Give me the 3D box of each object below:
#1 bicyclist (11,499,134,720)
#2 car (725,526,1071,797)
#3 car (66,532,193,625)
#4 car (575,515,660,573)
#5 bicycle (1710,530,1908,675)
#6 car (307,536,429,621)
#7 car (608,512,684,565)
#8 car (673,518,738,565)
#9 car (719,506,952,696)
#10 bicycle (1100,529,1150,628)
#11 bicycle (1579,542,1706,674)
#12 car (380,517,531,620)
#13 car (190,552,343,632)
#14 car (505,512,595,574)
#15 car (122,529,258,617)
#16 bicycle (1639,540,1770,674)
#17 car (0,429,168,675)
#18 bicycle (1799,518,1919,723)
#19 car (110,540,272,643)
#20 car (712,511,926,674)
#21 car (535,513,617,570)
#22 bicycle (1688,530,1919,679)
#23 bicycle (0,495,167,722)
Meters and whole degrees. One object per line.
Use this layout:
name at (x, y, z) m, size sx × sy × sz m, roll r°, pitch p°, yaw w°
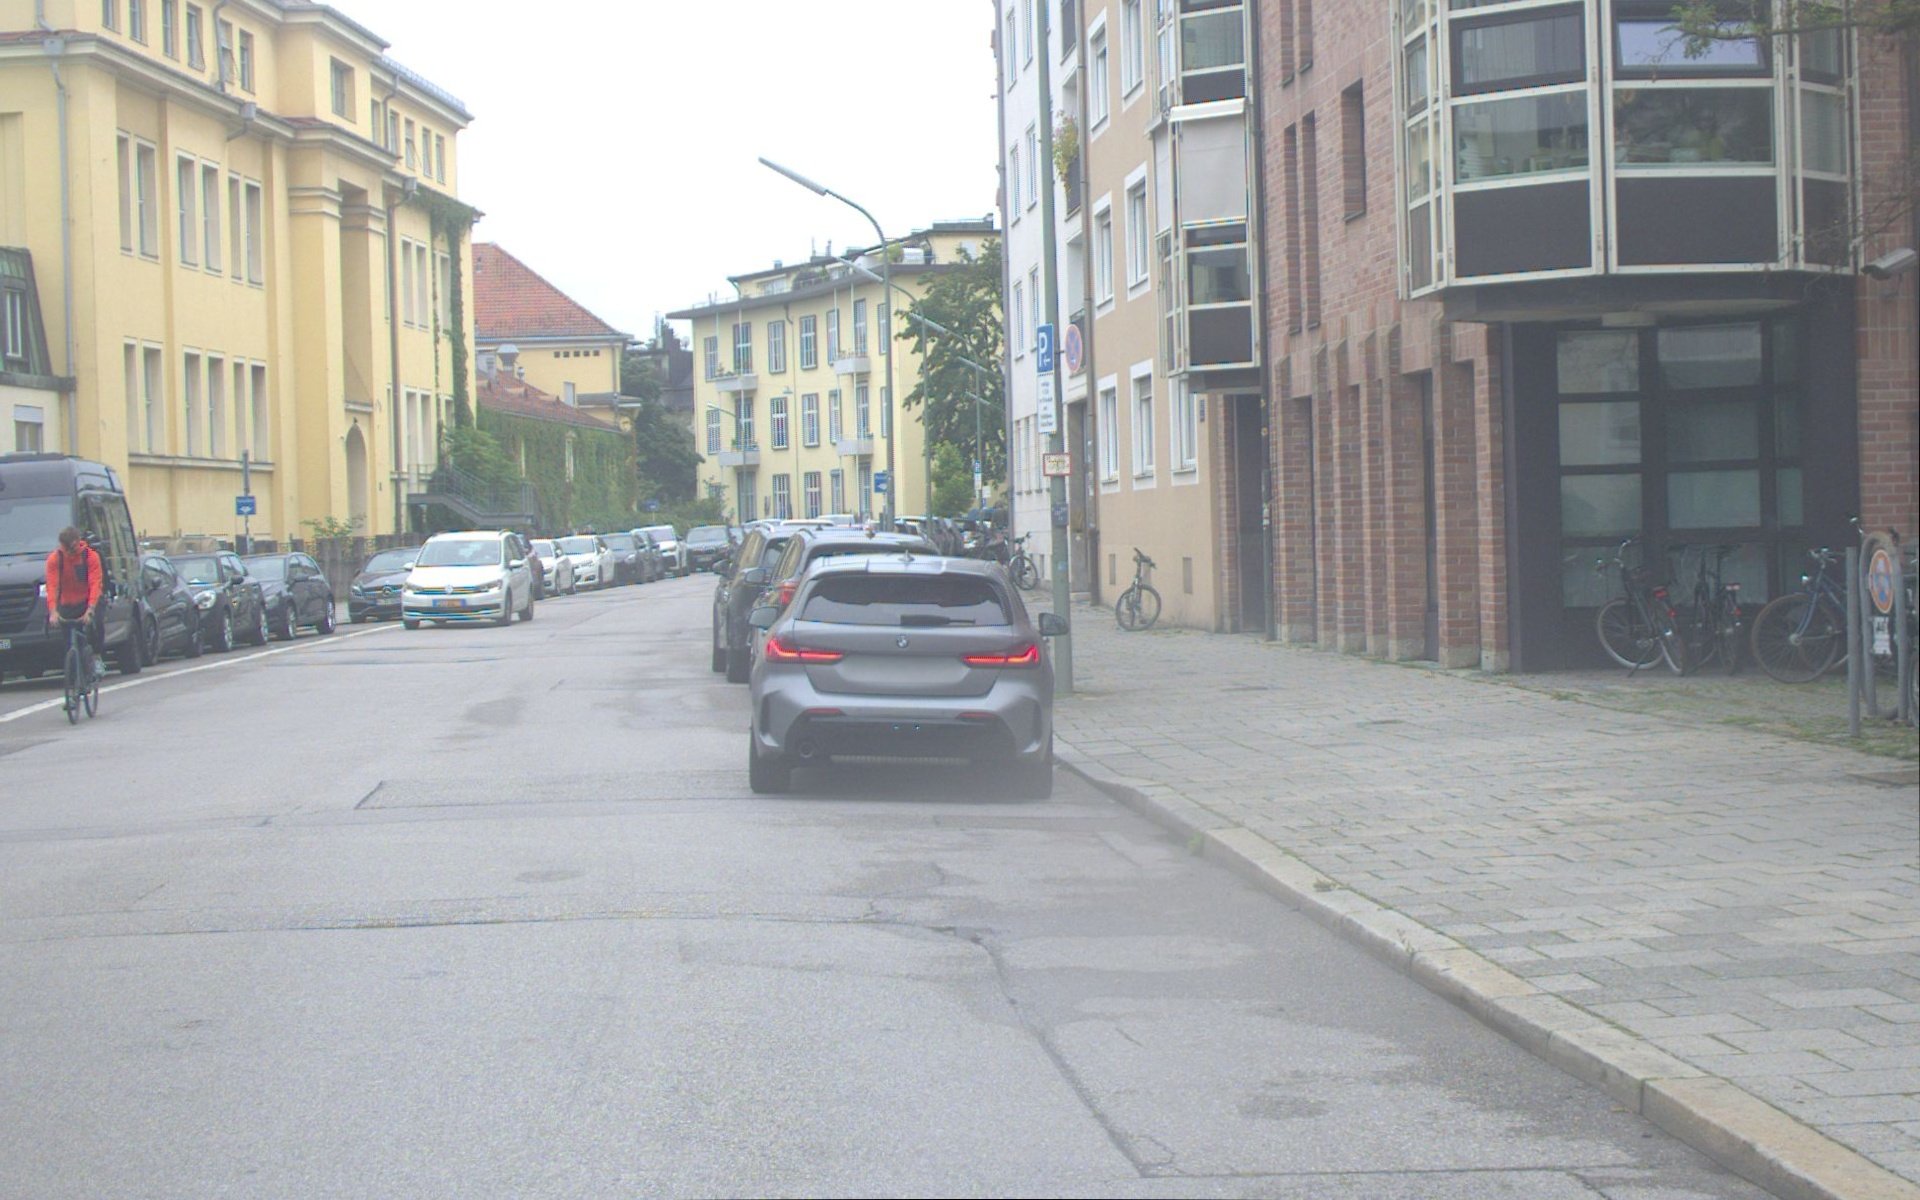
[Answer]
bicyclist at (-8.418, 0.078, 32.635) m, size 0.766 × 2.006 × 0.768 m, roll -5°, pitch 2°, yaw 3°
car at (-0.459, 0.298, 21.330) m, size 1.925 × 1.507 × 4.392 m, roll 0°, pitch 1°, yaw -3°
car at (-15.682, -0.422, 65.033) m, size 1.605 × 1.655 × 2.808 m, roll 0°, pitch 2°, yaw 3°
car at (-9.574, -1.596, 96.397) m, size 1.993 × 1.543 × 4.001 m, roll 0°, pitch 2°, yaw 0°
bicycle at (6.754, 0.015, 27.387) m, size 1.477 × 1.143 × 0.383 m, roll 0°, pitch 2°, yaw 3°
car at (-11.643, -0.451, 67.791) m, size 1.772 × 1.545 × 3.779 m, roll 0°, pitch 2°, yaw 0°
car at (-9.676, -1.906, 106.094) m, size 1.993 × 1.543 × 4.001 m, roll 0°, pitch 2°, yaw 0°
car at (-8.833, -2.059, 119.541) m, size 1.993 × 1.543 × 4.001 m, roll 0°, pitch 2°, yaw 0°
car at (-1.222, -0.054, 31.916) m, size 1.830 × 1.596 × 4.267 m, roll 0°, pitch 2°, yaw -7°
bicycle at (2.290, -0.316, 47.805) m, size 0.468 × 1.283 × 2.675 m, roll 0°, pitch 2°, yaw -2°
bicycle at (5.652, 0.052, 28.580) m, size 0.486 × 1.056 × 1.996 m, roll 0°, pitch 1°, yaw -5°
car at (-8.736, -0.519, 59.869) m, size 2.025 × 1.616 × 4.505 m, roll -3°, pitch 0°, yaw -2°
car at (-11.578, -0.155, 57.570) m, size 1.528 × 1.198 × 3.741 m, roll 0°, pitch 2°, yaw 5°
car at (-9.913, -1.393, 83.222) m, size 1.697 × 1.439 × 3.509 m, roll 0°, pitch 2°, yaw 1°
car at (-15.436, -0.560, 69.120) m, size 1.719 × 1.655 × 3.748 m, roll 0°, pitch 2°, yaw 3°
bicycle at (6.188, 0.041, 28.655) m, size 0.486 × 1.056 × 1.996 m, roll 0°, pitch 1°, yaw -5°
car at (-11.264, -0.522, 41.313) m, size 2.421 × 2.706 × 5.954 m, roll -3°, pitch 1°, yaw -4°
bicycle at (5.983, 0.124, 21.519) m, size 0.534 × 1.244 × 2.414 m, roll 0°, pitch 0°, yaw -9°
car at (-11.760, -0.165, 52.783) m, size 1.699 × 1.448 × 3.742 m, roll 0°, pitch 2°, yaw -1°
car at (-1.592, -0.140, 37.134) m, size 1.964 × 1.596 × 4.673 m, roll 0°, pitch 2°, yaw -7°
car at (-10.135, -1.565, 90.877) m, size 1.697 × 1.439 × 3.509 m, roll 0°, pitch 2°, yaw 1°
bicycle at (6.682, 0.031, 26.936) m, size 1.848 × 1.143 × 0.488 m, roll 0°, pitch 2°, yaw 3°
bicycle at (-8.412, 0.036, 32.838) m, size 0.748 × 2.006 × 2.848 m, roll -4°, pitch 2°, yaw 3°
